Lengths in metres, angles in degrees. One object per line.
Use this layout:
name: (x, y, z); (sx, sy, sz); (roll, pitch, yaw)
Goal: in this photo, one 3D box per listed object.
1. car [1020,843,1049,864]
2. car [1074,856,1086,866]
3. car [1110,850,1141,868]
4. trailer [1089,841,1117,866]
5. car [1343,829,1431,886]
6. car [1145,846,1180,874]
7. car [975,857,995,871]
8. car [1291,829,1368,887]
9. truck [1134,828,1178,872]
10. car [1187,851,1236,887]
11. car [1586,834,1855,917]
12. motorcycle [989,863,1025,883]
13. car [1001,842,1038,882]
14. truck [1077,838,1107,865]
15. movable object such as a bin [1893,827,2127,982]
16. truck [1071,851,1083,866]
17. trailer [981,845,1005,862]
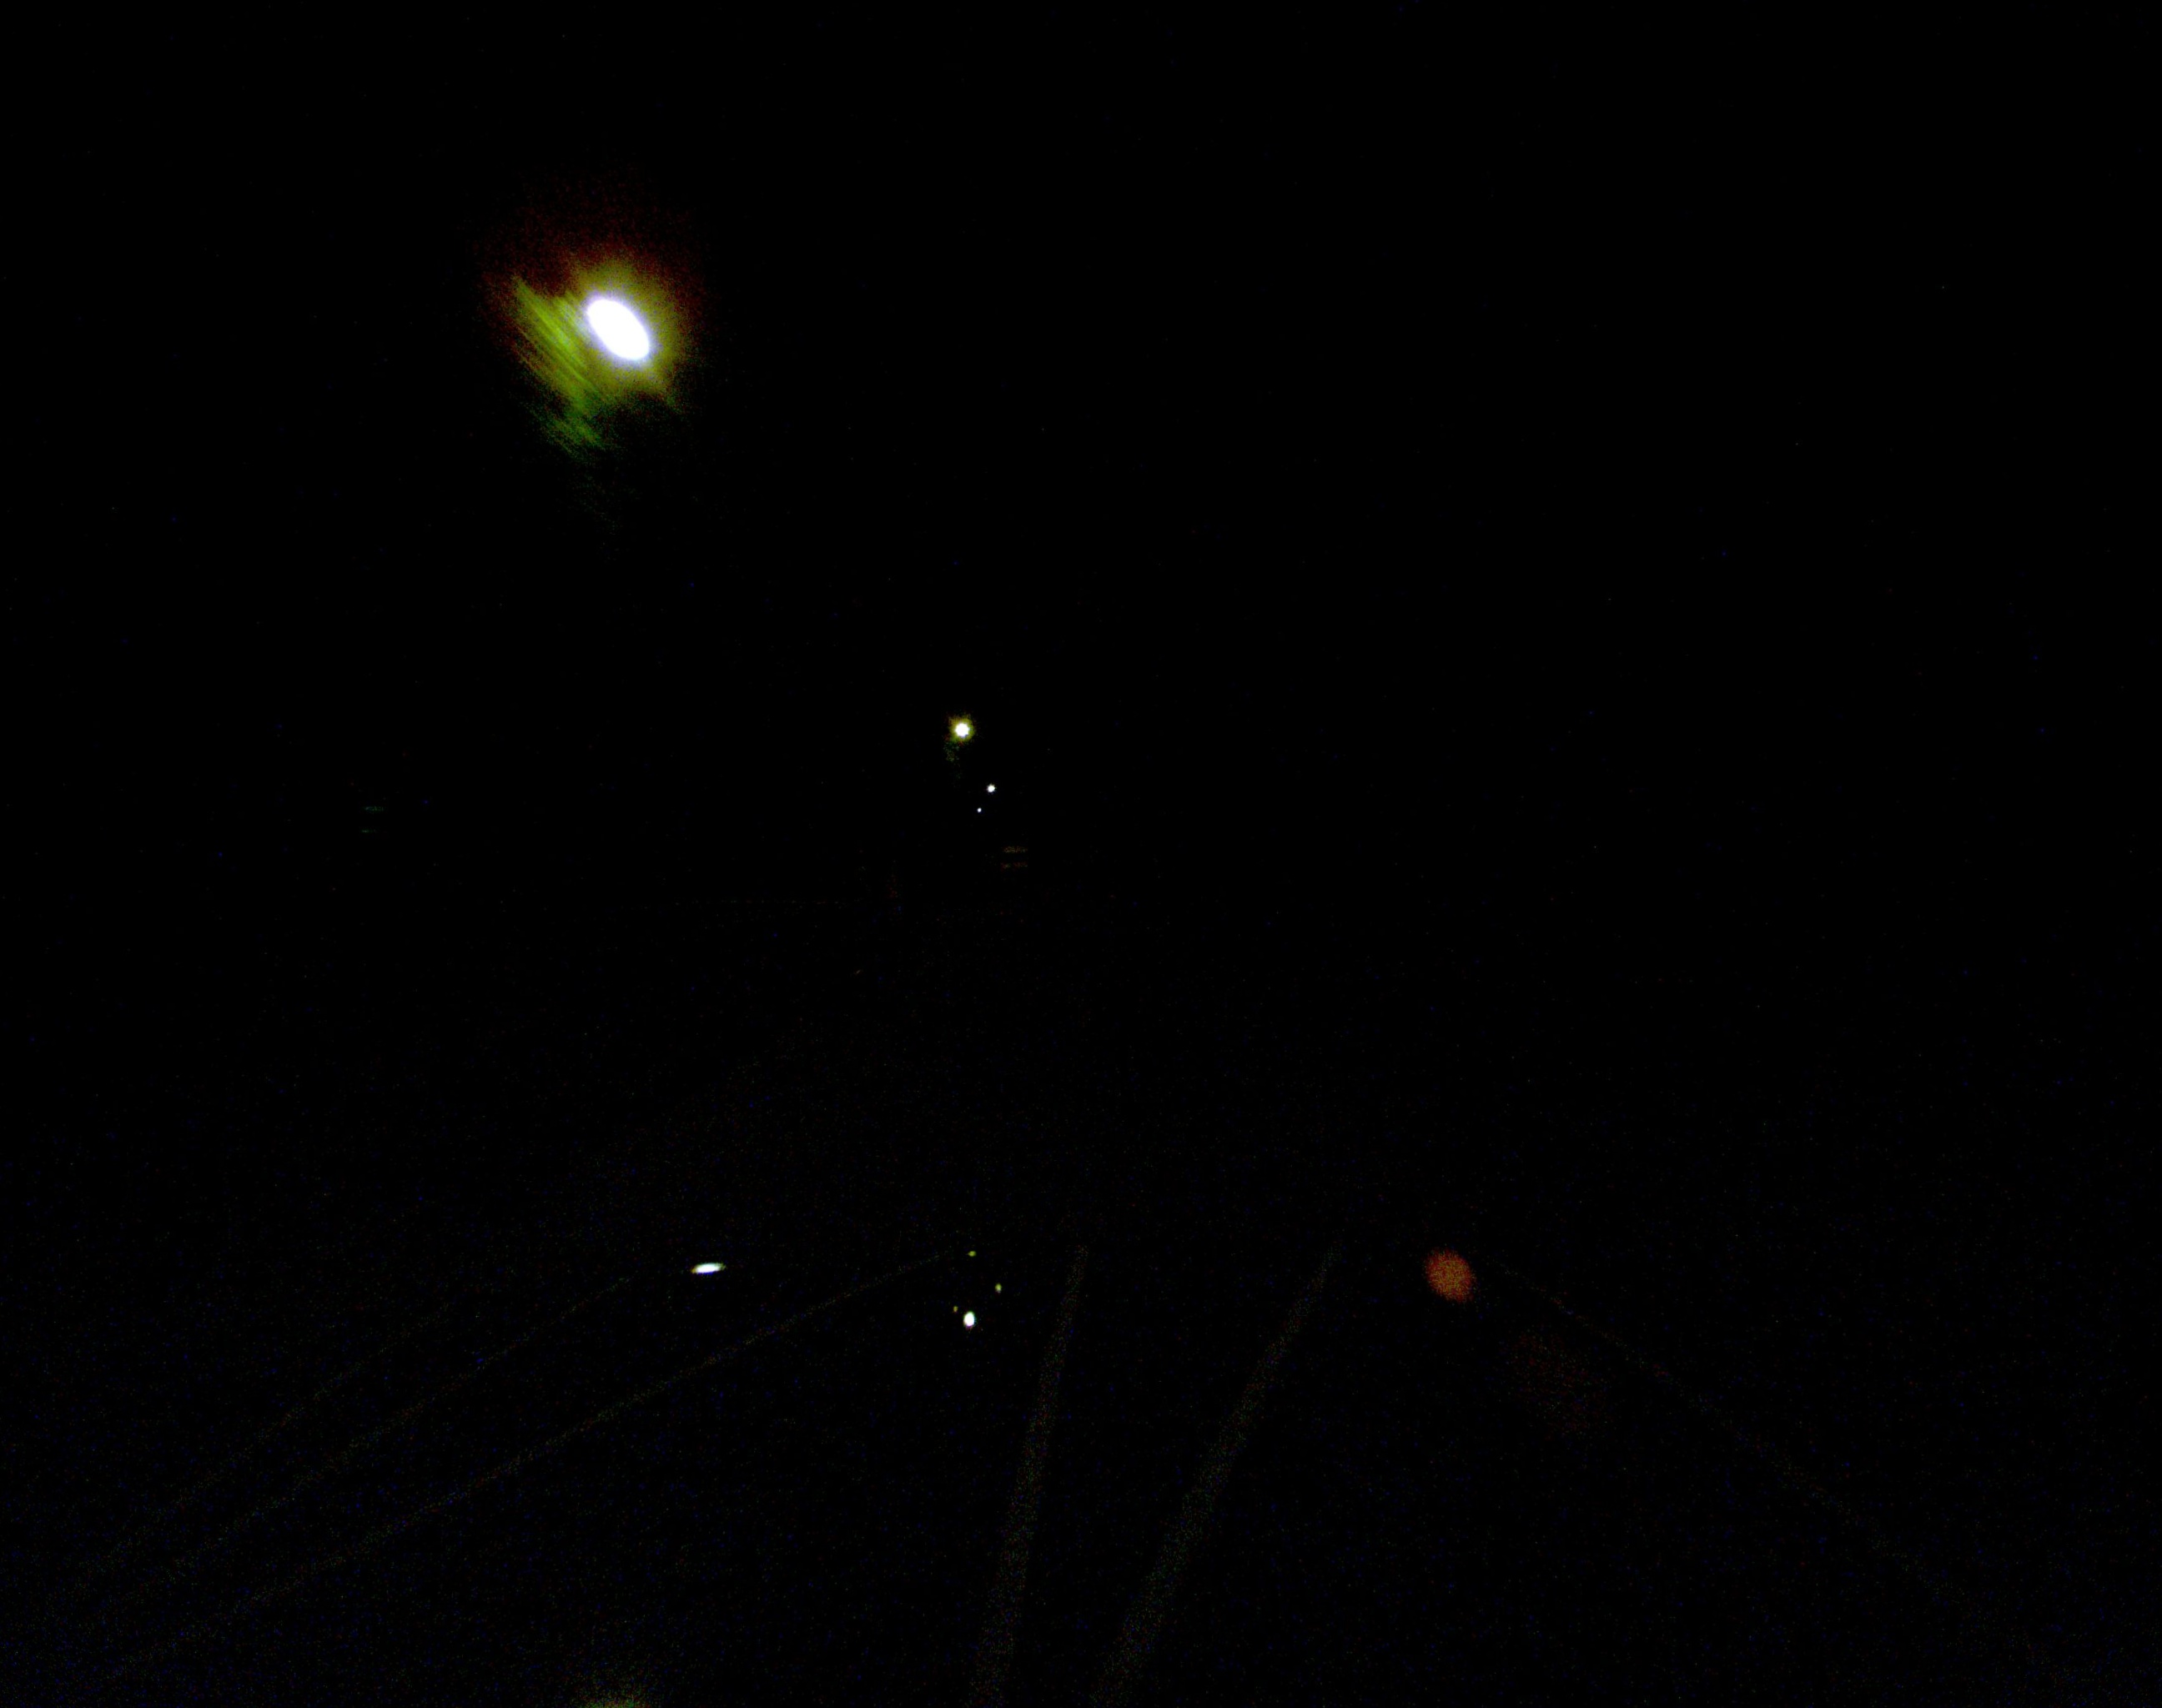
car: (-7.630, -0.038, 123.788); (2.392, 3.224, 7.217); (-2, 0, -24)
car: (-0.239, 1.143, 131.003); (1.862, 1.630, 3.999); (-1, 0, -3)
car: (4.445, 0.484, 76.370); (2.000, 1.761, 4.688); (-2, 0, -10)
trailer: (2.482, -0.070, 87.887); (2.212, 2.779, 4.611); (-2, 0, -11)
car: (13.284, 0.135, 33.326); (2.212, 2.308, 4.625); (-1, 0, 4)
car: (5.699, 0.387, 53.490); (1.834, 1.806, 4.837); (-1, 0, -1)
car: (-14.809, 1.548, 116.904); (2.001, 2.002, 5.346); (-3, 0, -19)
car: (10.595, 0.147, 32.795); (1.998, 2.308, 4.968); (0, 0, 4)
truck: (5.855, -0.314, 60.255); (2.550, 3.261, 7.310); (-1, 0, -1)
car: (5.898, 0.653, 34.875); (1.759, 1.517, 4.323); (-2, 0, 4)
car: (12.918, 0.414, 15.535); (3.997, 1.562, 1.817); (-1, 0, 0)
motorcycle: (-4.652, 1.191, 47.796); (2.180, 1.177, 0.770); (-3, 1, 31)
car: (-4.133, 0.507, 51.944); (2.026, 2.512, 6.050); (-3, 0, -1)
truck: (1.317, -0.265, 94.529); (2.381, 3.224, 7.225); (-2, 0, -10)
movable object such as a bin: (9.665, 0.495, 7.965); (1.167, 1.487, 1.065); (-1, 0, -3)
truck: (-0.753, 0.778, 139.667); (2.138, 2.598, 7.098); (-1, 0, -1)
trailer: (-16.833, -0.064, 144.666); (2.493, 3.055, 7.940); (-1, 0, -21)
